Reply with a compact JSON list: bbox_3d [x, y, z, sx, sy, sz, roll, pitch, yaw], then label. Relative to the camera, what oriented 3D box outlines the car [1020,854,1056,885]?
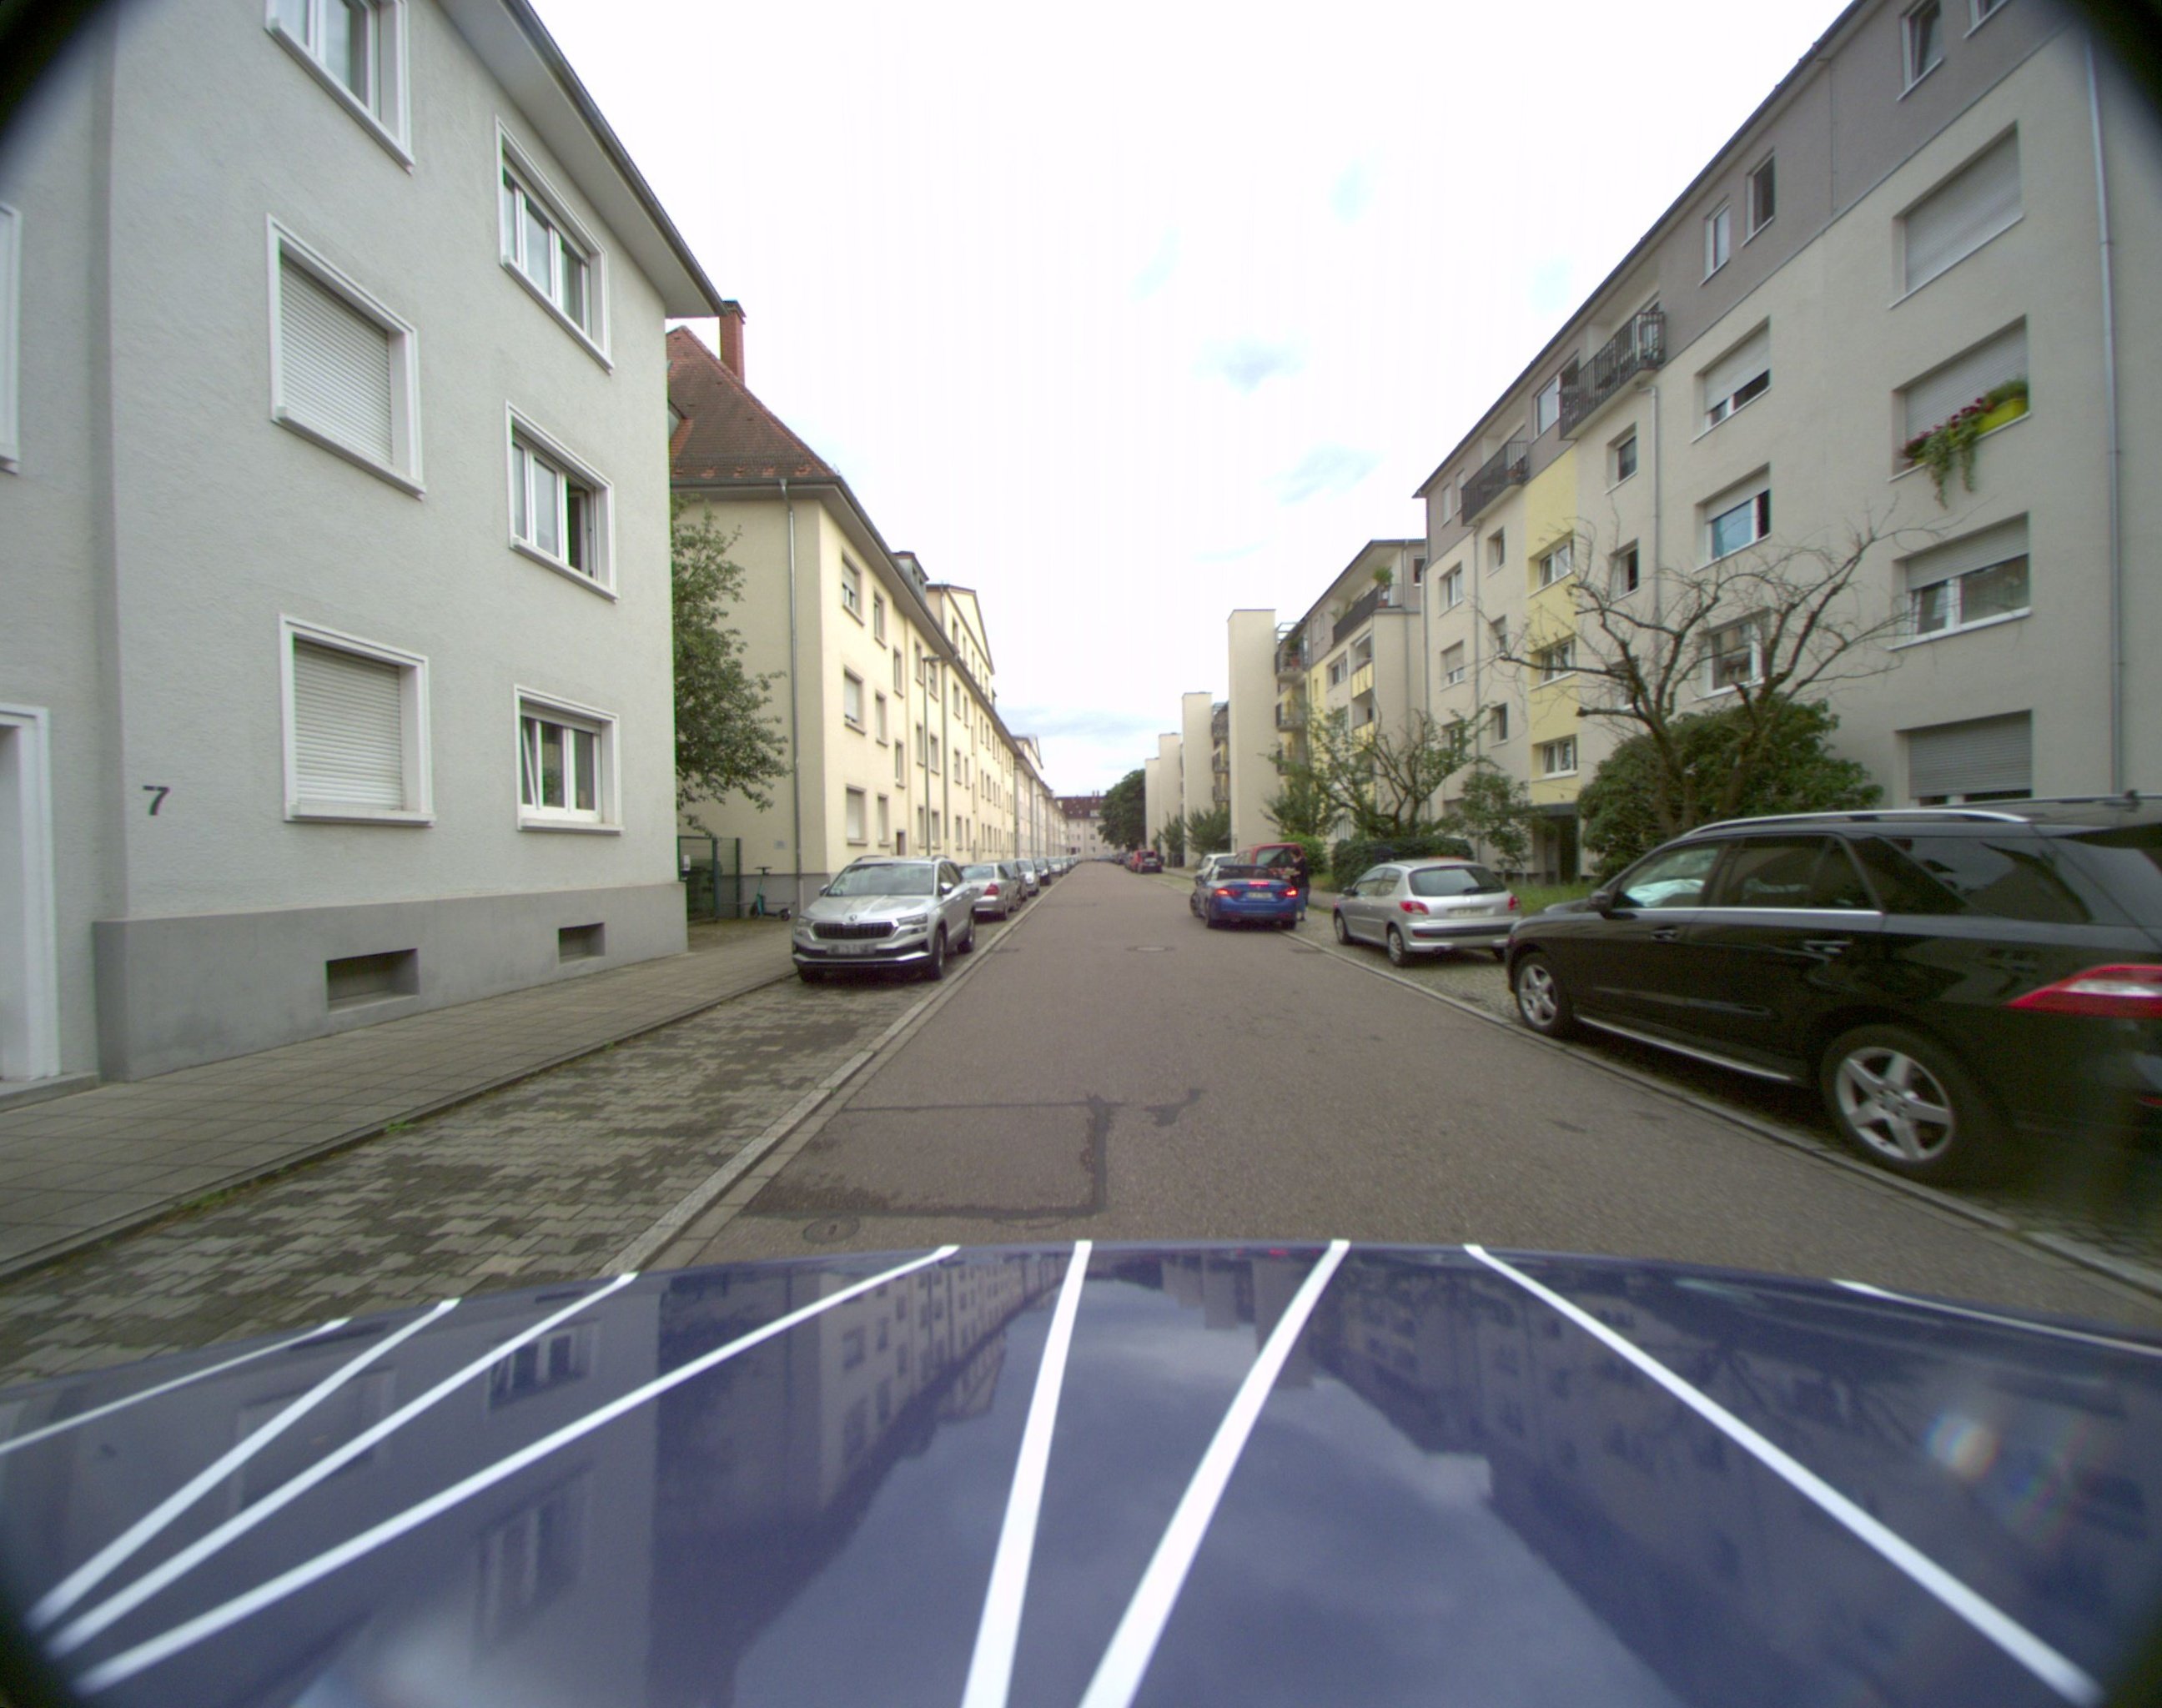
[{"bbox_3d":[-2.256,0.796,40.744,1.729,1.508,4.060,-2,0,0],"label":"car"}]

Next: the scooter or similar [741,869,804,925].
[{"bbox_3d":[-7.108,0.982,17.521,1.278,1.238,0.523,-1,0,18],"label":"scooter or similar"}]

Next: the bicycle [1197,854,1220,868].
[{"bbox_3d":[11.397,0.621,67.963,1.839,1.112,0.605,-2,1,0],"label":"bicycle"}]

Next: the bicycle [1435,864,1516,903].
[{"bbox_3d":[9.782,0.712,18.965,0.572,0.843,2.756,-1,0,0],"label":"bicycle"}]

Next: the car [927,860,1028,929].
[{"bbox_3d":[-2.534,0.952,19.666,1.729,1.468,4.505,-2,0,3],"label":"car"}]

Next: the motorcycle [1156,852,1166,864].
[{"bbox_3d":[9.027,0.459,85.781,0.871,1.299,2.420,-3,0,1],"label":"motorcycle"}]

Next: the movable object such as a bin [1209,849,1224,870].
[{"bbox_3d":[9.167,0.358,51.541,0.805,1.421,1.288,-2,1,5],"label":"movable object such as a bin"}]

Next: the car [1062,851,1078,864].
[{"bbox_3d":[-1.393,0.406,96.277,1.788,1.590,3.805,-2,0,2],"label":"car"}]

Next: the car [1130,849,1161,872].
[{"bbox_3d":[5.809,0.570,68.796,2.157,1.942,4.921,-3,0,-1],"label":"car"}]

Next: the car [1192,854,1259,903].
[{"bbox_3d":[5.270,0.841,28.173,1.725,1.561,3.870,-3,0,1],"label":"car"}]

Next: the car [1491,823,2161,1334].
[{"bbox_3d":[4.749,0.762,4.769,1.900,1.730,4.474,-4,0,1],"label":"car"}]

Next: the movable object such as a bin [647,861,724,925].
[{"bbox_3d":[-9.008,0.872,17.355,1.034,1.371,1.306,-1,1,1],"label":"movable object such as a bin"}]

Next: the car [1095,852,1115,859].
[{"bbox_3d":[5.715,0.337,179.072,4.545,1.551,1.565,-1,1,5],"label":"car"}]

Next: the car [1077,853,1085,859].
[{"bbox_3d":[-0.008,0.405,164.934,1.563,1.334,3.789,-1,0,1],"label":"car"}]

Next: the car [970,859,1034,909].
[{"bbox_3d":[-2.574,0.939,25.394,1.607,1.468,3.869,-2,0,1],"label":"car"}]

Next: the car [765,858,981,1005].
[{"bbox_3d":[-2.672,0.917,10.828,1.825,1.633,4.091,-1,0,2],"label":"car"}]

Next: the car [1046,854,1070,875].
[{"bbox_3d":[-1.732,0.741,57.715,1.729,1.508,4.060,0,0,0],"label":"car"}]

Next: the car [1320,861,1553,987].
[{"bbox_3d":[5.107,0.913,11.542,1.749,1.456,3.785,-3,0,1],"label":"car"}]

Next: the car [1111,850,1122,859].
[{"bbox_3d":[7.274,0.118,156.246,2.000,1.566,4.209,-3,0,1],"label":"car"}]

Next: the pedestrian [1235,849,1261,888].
[{"bbox_3d":[7.030,0.618,31.963,0.802,1.600,0.946,-2,1,-4],"label":"pedestrian"}]

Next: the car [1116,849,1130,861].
[{"bbox_3d":[6.658,0.175,120.810,1.891,1.844,4.785,-2,0,0],"label":"car"}]

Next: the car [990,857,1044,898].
[{"bbox_3d":[-2.513,0.890,30.544,1.853,1.441,3.832,-2,0,-1],"label":"car"}]

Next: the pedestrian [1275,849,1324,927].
[{"bbox_3d":[4.927,0.751,17.173,0.743,1.692,0.795,-1,1,-16],"label":"pedestrian"}]

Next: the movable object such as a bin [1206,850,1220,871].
[{"bbox_3d":[9.185,0.470,52.928,0.805,1.421,1.288,-2,1,4],"label":"movable object such as a bin"}]

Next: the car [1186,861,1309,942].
[{"bbox_3d":[3.532,0.946,16.955,1.849,1.443,4.501,-2,0,2],"label":"car"}]

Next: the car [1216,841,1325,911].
[{"bbox_3d":[5.450,0.580,22.462,1.962,1.760,4.361,-3,0,-1],"label":"car"}]

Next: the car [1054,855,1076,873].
[{"bbox_3d":[-1.399,0.893,67.511,1.729,1.483,4.060,-2,0,1],"label":"car"}]

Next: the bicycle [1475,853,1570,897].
[{"bbox_3d":[10.984,0.496,19.053,0.779,0.993,2.756,-1,0,0],"label":"bicycle"}]

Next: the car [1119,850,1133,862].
[{"bbox_3d":[6.409,0.234,108.704,1.804,1.617,4.472,-3,0,1],"label":"car"}]

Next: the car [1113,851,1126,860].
[{"bbox_3d":[6.867,0.290,136.375,1.919,1.431,4.434,-3,0,-1],"label":"car"}]

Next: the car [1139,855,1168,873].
[{"bbox_3d":[5.918,0.788,62.419,1.875,1.316,4.361,-3,0,0],"label":"car"}]
